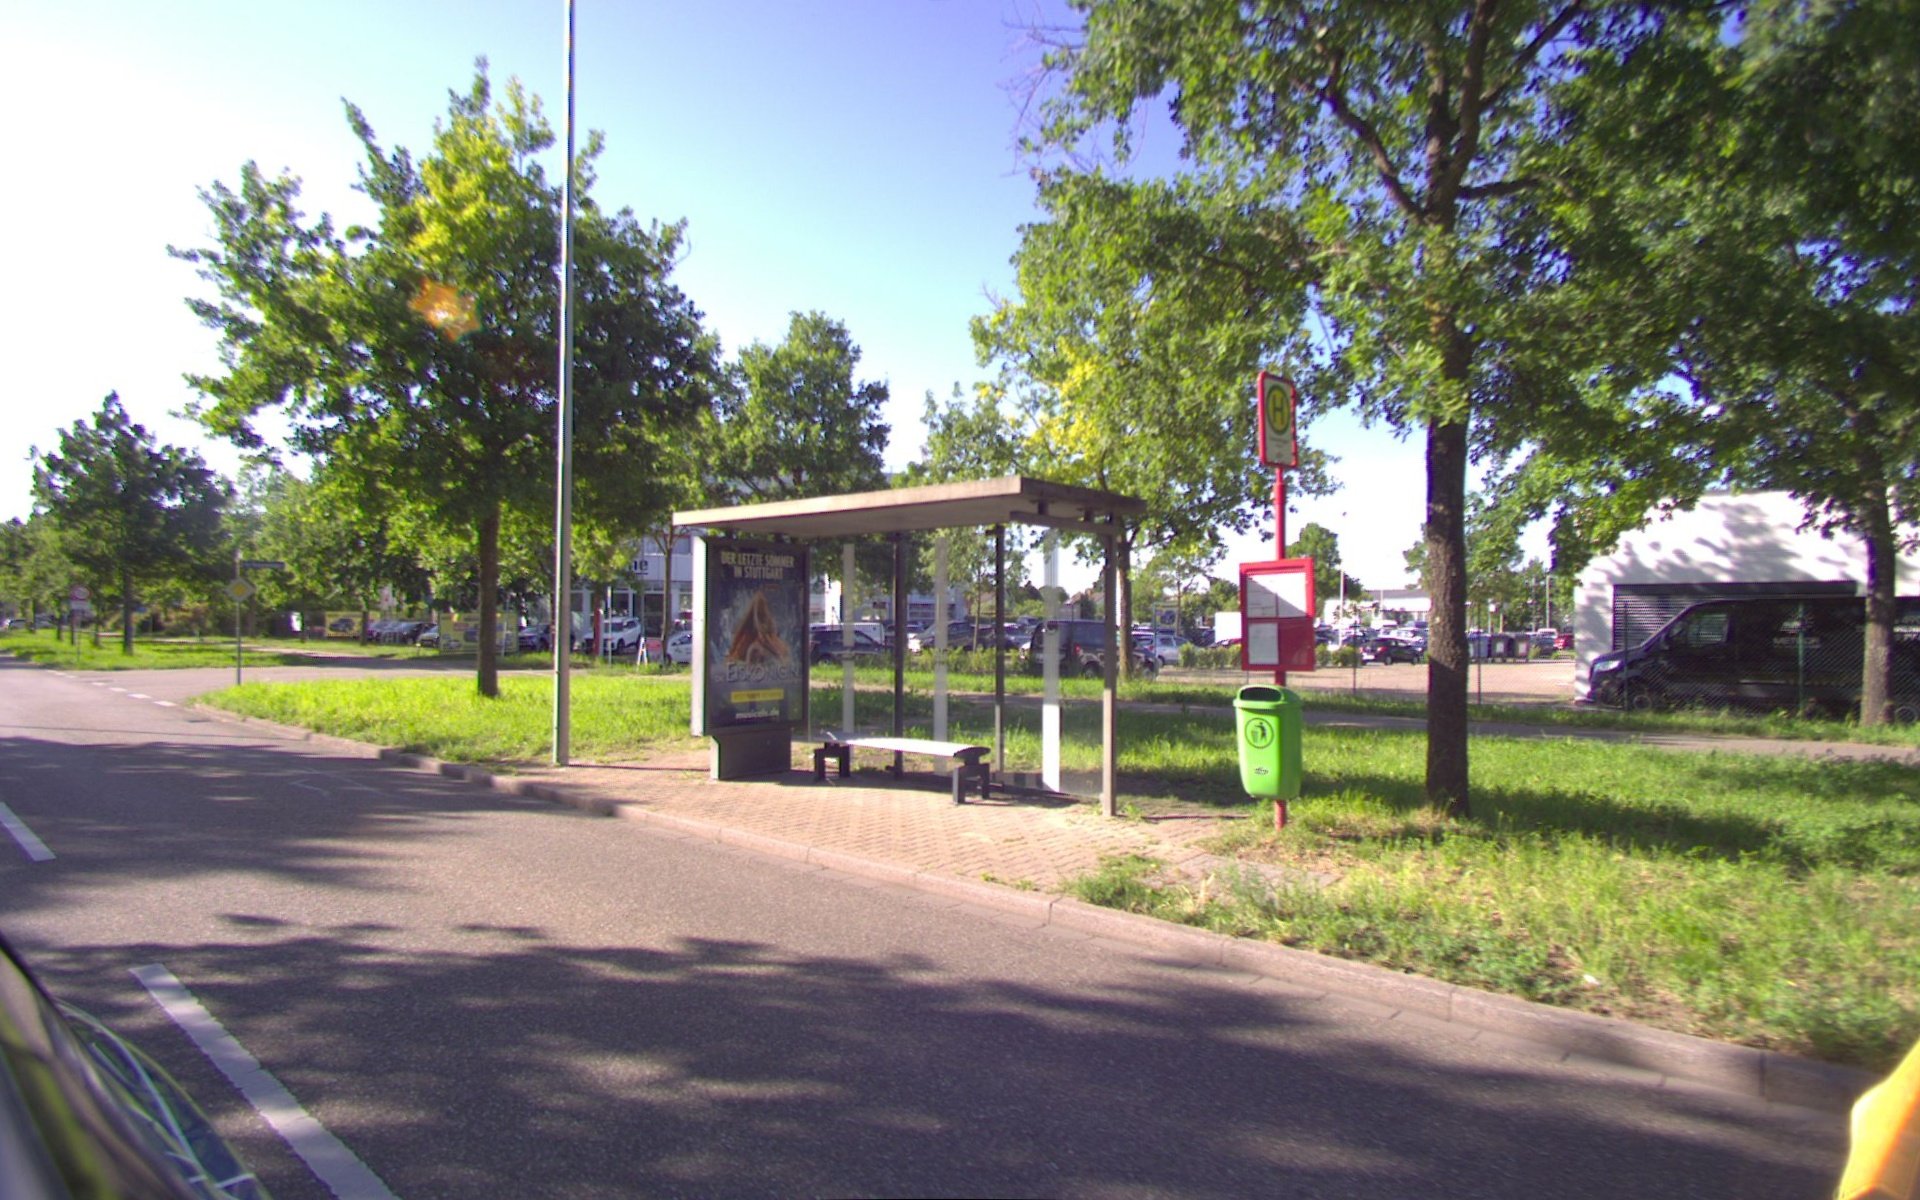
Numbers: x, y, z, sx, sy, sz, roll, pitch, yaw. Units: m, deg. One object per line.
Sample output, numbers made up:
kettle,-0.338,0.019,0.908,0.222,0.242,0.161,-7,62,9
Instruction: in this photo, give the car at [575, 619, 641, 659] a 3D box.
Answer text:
car,-17.898,1.947,51.700,1.972,1.851,4.000,-1,0,0

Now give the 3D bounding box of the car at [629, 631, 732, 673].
car,-11.801,2.156,42.696,3.827,1.513,2.006,-1,0,-29

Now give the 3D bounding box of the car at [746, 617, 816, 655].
car,-10.185,1.961,57.182,2.262,1.954,5.846,-1,0,-27

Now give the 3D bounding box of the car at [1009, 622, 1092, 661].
car,4.757,2.158,53.338,3.932,1.851,2.006,-1,0,-33

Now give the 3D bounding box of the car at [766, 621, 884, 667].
car,-6.165,1.965,46.345,4.963,1.851,2.006,-1,0,-27

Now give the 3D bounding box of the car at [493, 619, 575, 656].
car,-22.683,1.969,54.016,1.983,1.851,3.978,-1,0,17

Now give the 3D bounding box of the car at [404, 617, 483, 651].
car,-30.512,2.005,59.919,1.983,1.851,3.978,-1,0,17

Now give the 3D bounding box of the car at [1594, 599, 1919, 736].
car,14.742,1.125,17.969,5.668,2.191,1.973,-1,-2,41

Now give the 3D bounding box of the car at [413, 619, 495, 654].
car,-28.709,2.038,57.532,1.983,1.851,3.978,-1,0,17

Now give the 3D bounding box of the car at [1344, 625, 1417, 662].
car,22.134,2.228,53.204,3.941,1.729,2.202,-1,0,-44

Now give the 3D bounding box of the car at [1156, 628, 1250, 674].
car,11.073,2.273,46.057,3.933,1.851,2.005,-1,0,-34
